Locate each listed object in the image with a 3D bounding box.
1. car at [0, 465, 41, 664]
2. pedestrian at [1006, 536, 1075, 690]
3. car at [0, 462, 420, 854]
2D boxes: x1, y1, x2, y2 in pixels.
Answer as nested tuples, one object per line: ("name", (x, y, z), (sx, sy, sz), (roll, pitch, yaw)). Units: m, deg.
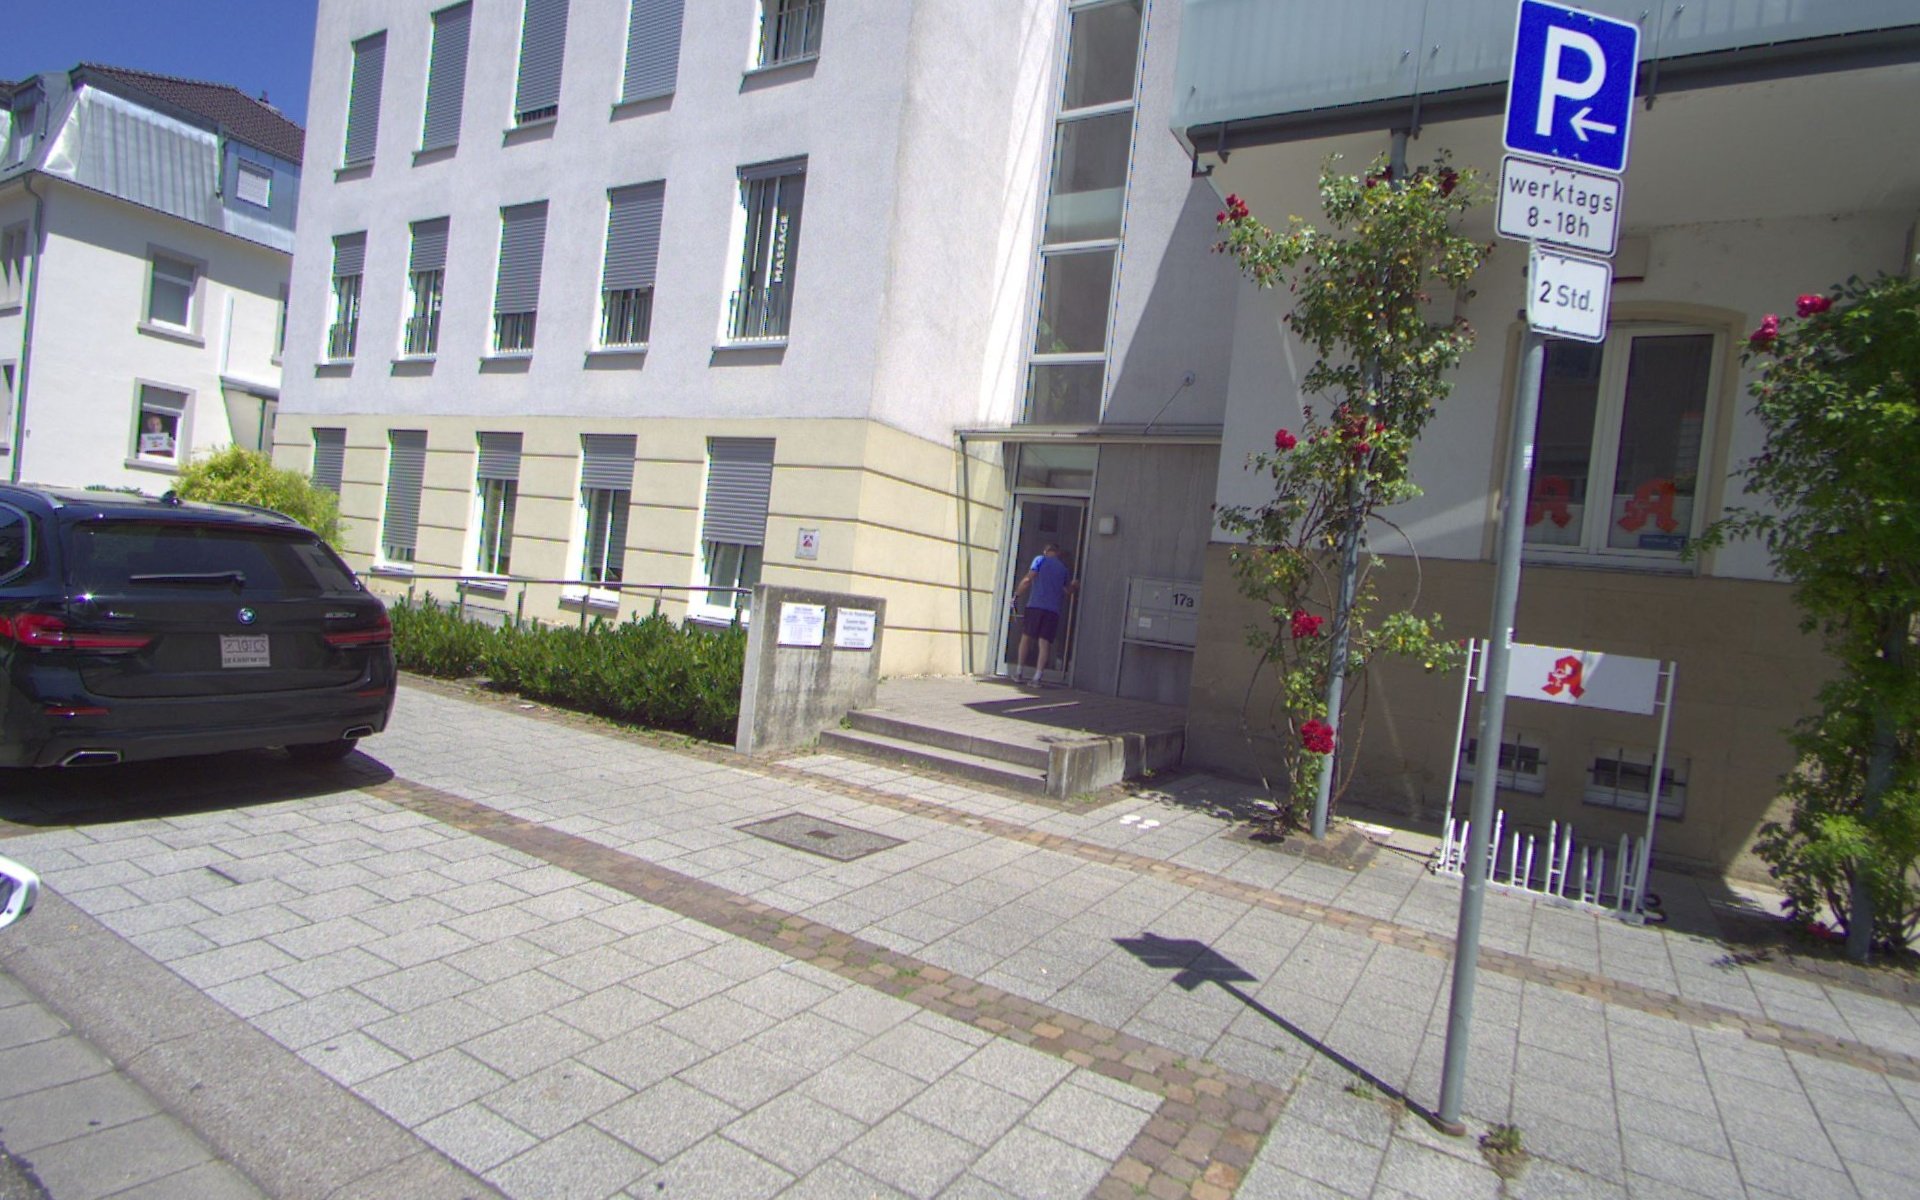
("car", (-10.386, -0.546, 9.217), (4.505, 1.687, 1.706), (6, 0, 32))
("pedestrian", (0.934, 0.153, 11.834), (0.586, 1.723, 0.410), (6, 1, -2))
("car", (-5.361, 0.029, 5.974), (4.670, 1.578, 1.704), (6, 4, 32))
